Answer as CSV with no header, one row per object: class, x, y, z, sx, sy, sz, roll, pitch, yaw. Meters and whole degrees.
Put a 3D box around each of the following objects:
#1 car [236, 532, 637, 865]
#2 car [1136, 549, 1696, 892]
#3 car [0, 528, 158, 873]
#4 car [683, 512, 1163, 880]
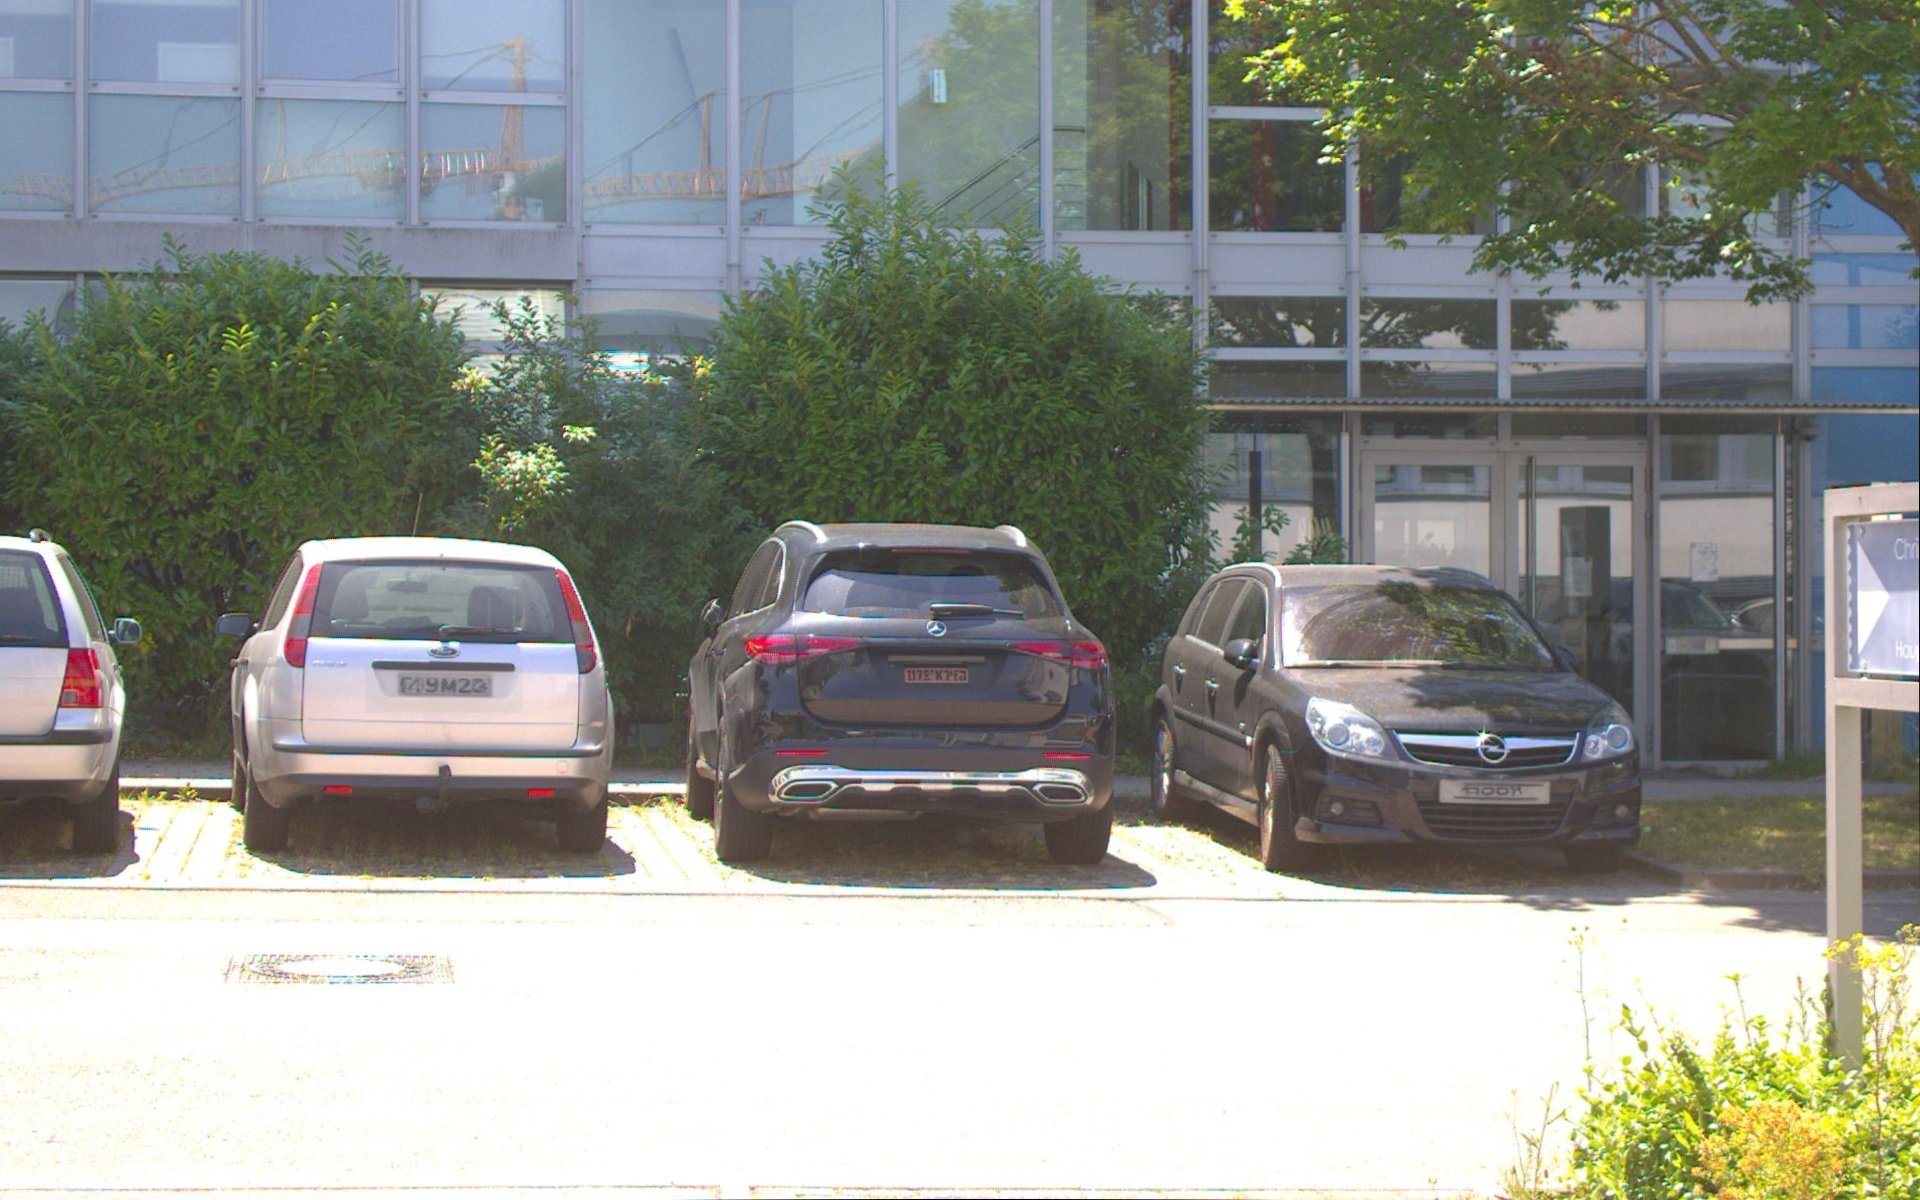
car,-2.743,0.422,17.394,1.764,1.444,3.655,1,1,-12
car,2.174,0.515,17.615,1.769,1.477,4.260,0,2,-8
car,-4.801,0.390,16.530,1.731,1.444,3.655,1,1,-12
car,-0.317,0.391,17.498,1.926,1.605,3.987,2,1,-8
